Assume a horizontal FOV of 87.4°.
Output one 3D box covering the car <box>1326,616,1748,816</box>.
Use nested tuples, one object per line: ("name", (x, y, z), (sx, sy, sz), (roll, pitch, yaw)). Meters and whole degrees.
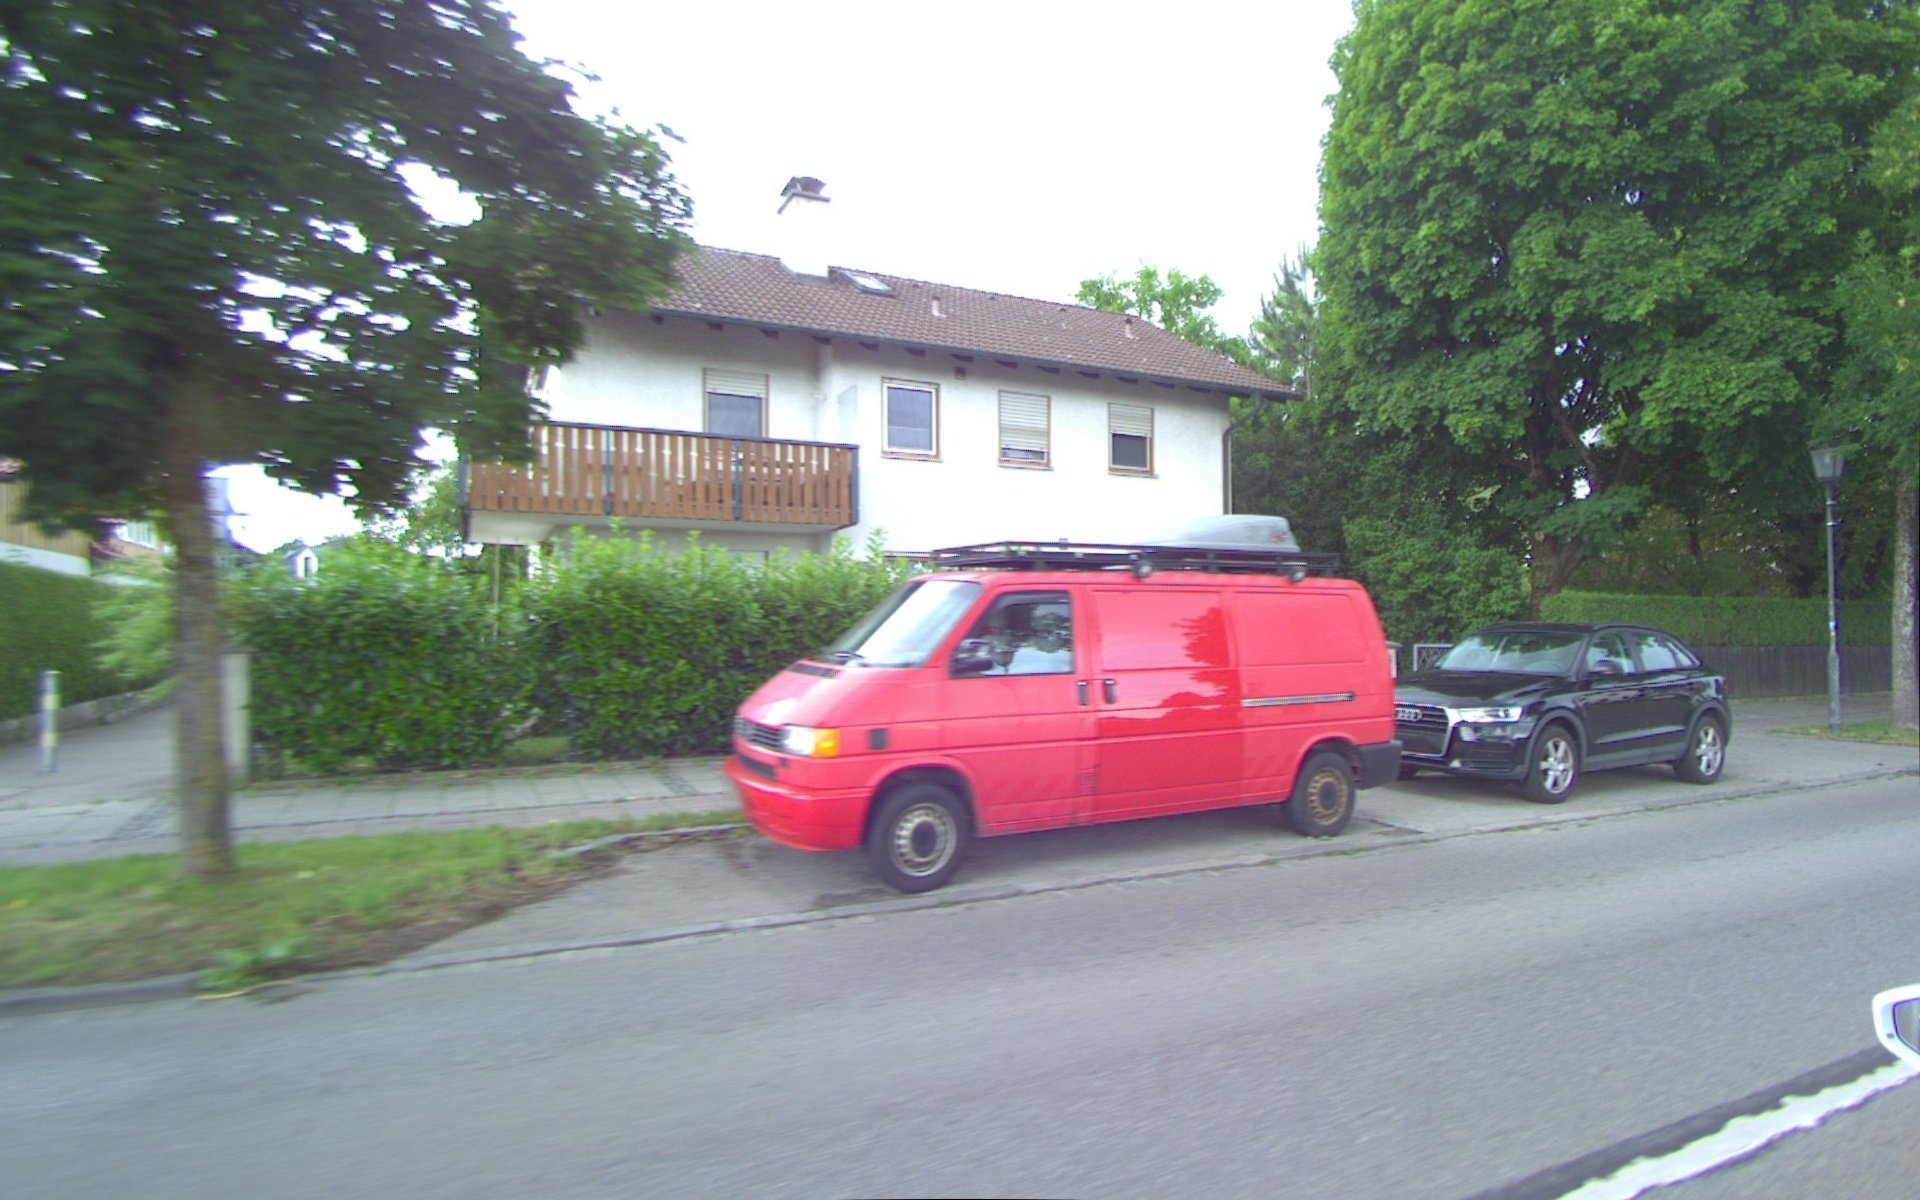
("car", (5.823, 0.980, 10.055), (4.185, 1.619, 1.764), (0, 0, -29))

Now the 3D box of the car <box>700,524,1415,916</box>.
("car", (0.833, 0.648, 7.262), (4.982, 2.057, 1.822), (1, 0, -28))
